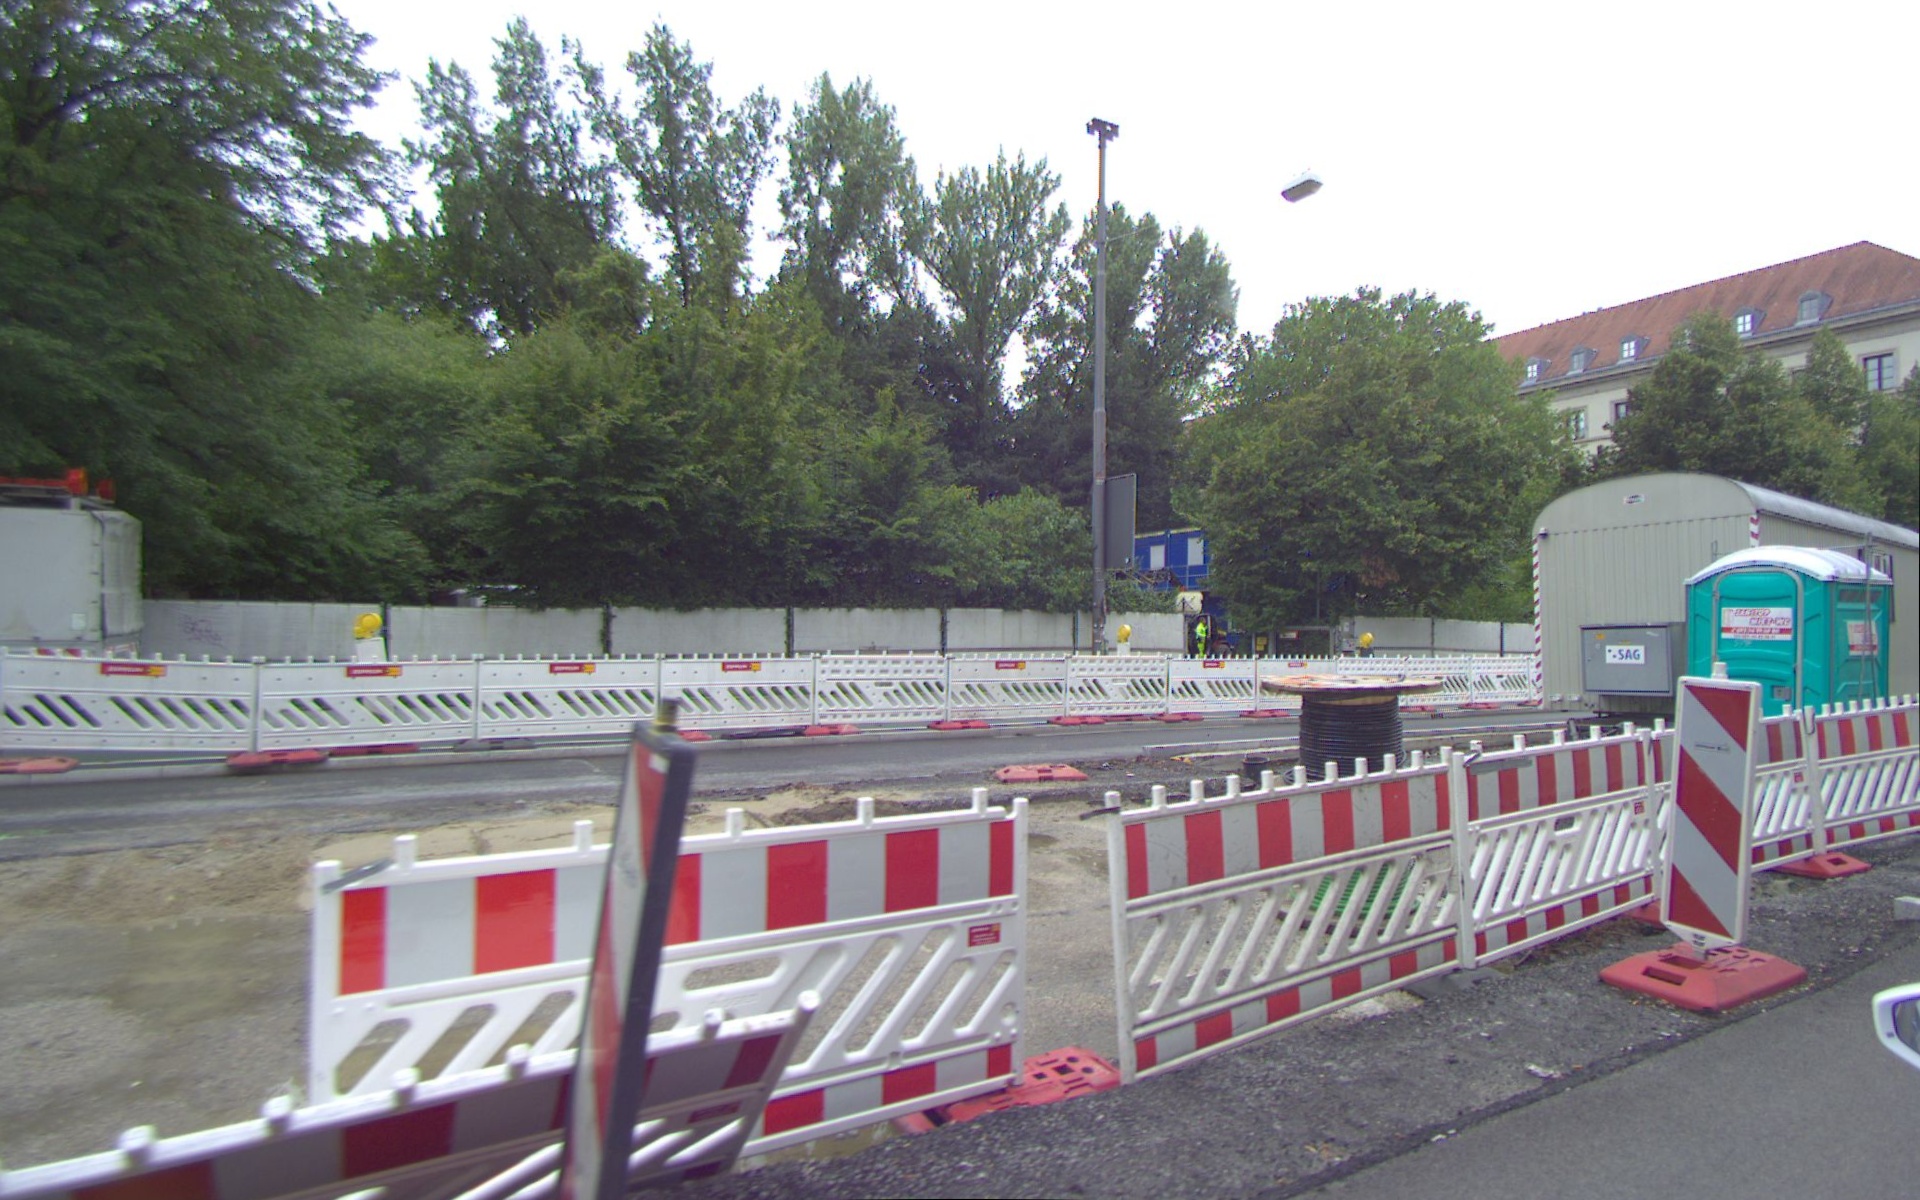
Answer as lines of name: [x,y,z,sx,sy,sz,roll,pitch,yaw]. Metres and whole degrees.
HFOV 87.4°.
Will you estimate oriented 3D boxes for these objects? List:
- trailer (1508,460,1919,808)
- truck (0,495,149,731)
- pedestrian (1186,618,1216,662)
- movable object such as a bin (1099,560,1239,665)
trailer: [9.826,0.434,12.563,7.445,3.286,2.212,2,-2,-35]
truck: [-13.343,0.126,11.646,5.800,2.764,1.984,1,-1,-30]
pedestrian: [8.693,1.443,36.244,0.777,1.555,0.677,1,-1,-31]
movable object such as a bin: [7.802,0.497,37.371,5.121,3.677,1.983,1,-1,-31]
